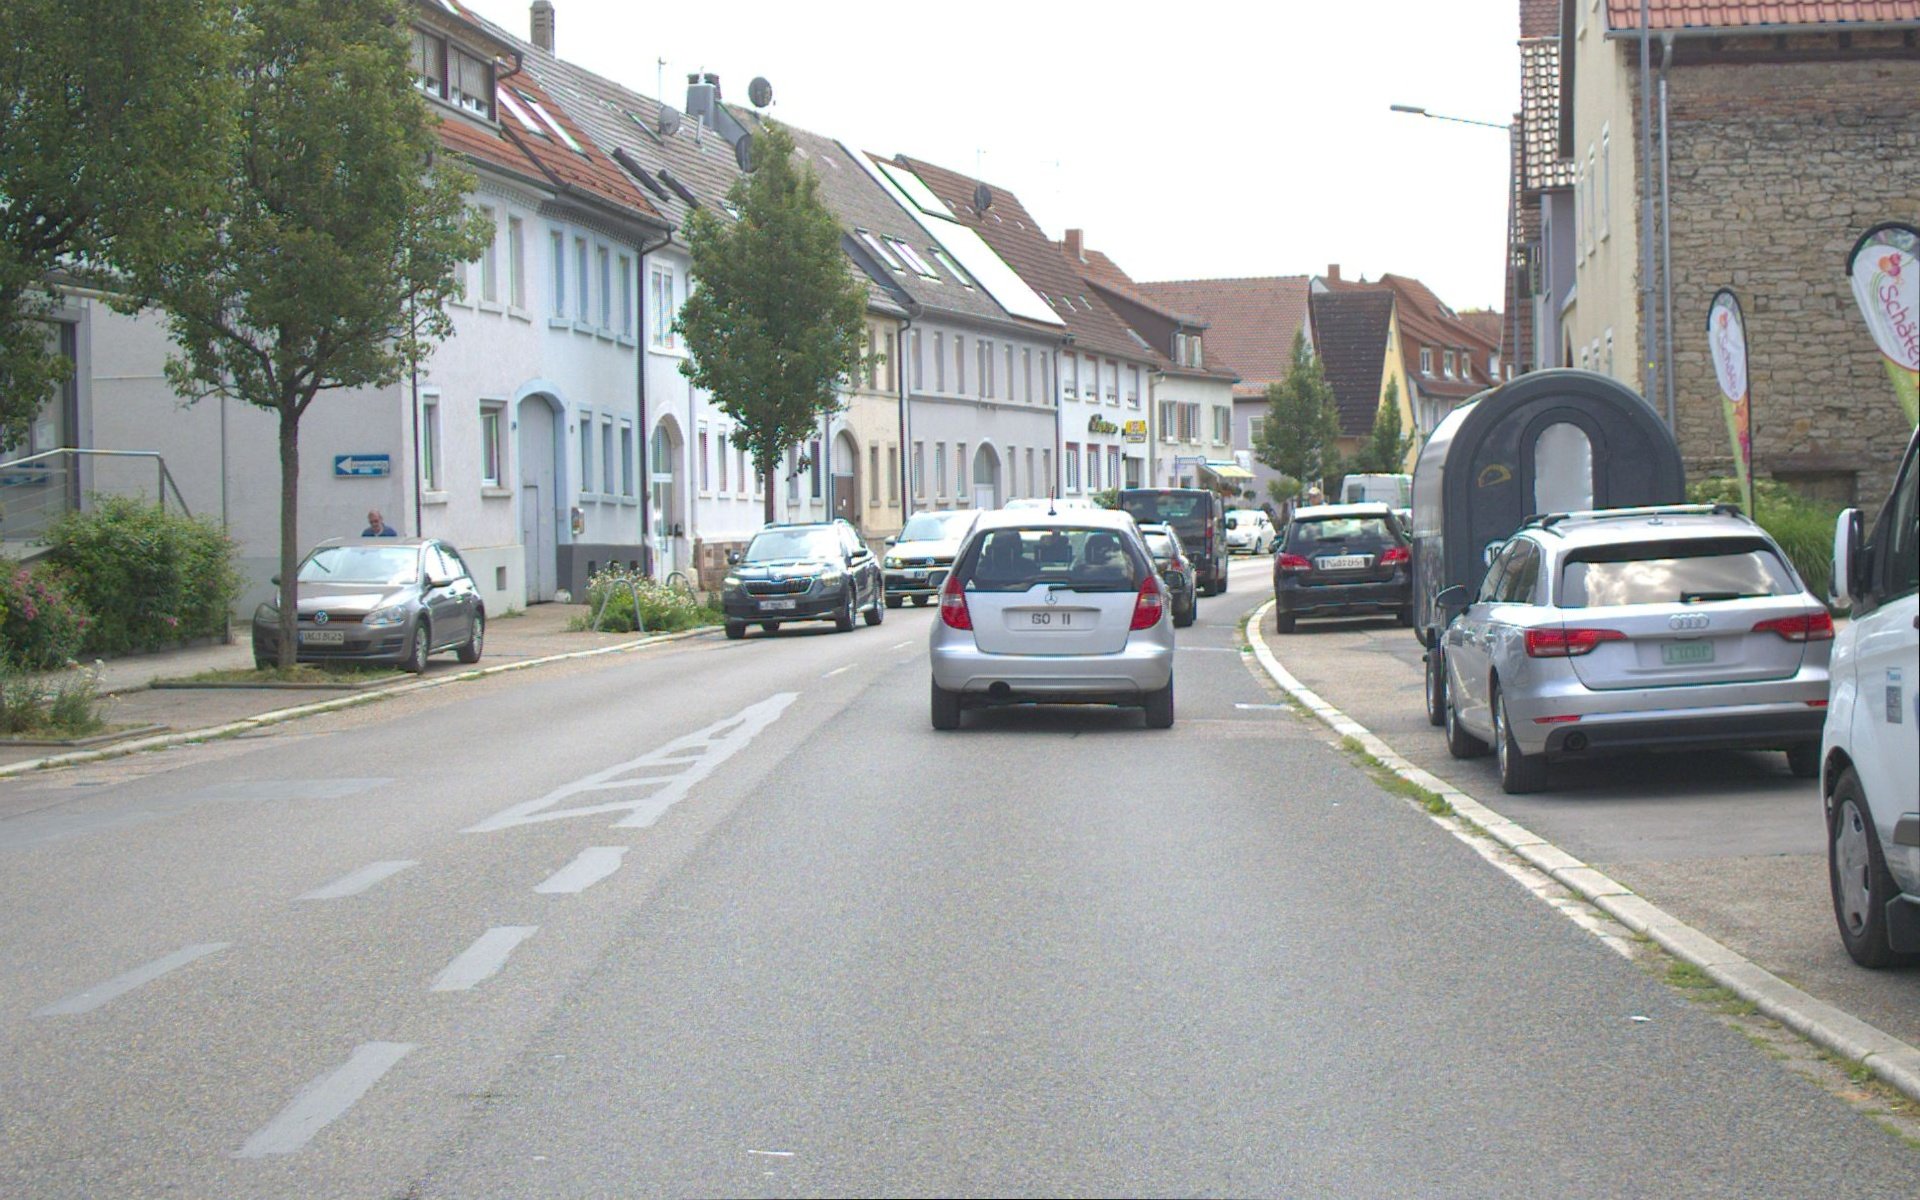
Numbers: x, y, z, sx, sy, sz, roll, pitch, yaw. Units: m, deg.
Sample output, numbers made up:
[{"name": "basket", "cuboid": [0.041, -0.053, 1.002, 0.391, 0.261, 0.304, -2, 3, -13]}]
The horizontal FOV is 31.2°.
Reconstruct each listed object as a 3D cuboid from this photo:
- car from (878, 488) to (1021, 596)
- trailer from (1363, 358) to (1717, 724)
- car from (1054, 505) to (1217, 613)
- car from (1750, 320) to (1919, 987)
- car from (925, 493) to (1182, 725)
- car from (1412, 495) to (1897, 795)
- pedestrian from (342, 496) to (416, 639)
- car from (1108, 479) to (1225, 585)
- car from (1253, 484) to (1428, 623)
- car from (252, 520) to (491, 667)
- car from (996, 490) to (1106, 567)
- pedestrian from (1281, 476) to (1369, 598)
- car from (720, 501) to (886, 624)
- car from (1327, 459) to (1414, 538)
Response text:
[{"name": "car", "cuboid": [-0.135, -1.048, 59.928, 1.955, 1.778, 4.651, 0, 2, 6]}, {"name": "trailer", "cuboid": [4.038, -0.443, 24.472, 1.845, 2.346, 3.590, -2, 2, 0]}, {"name": "car", "cuboid": [2.472, -0.585, 47.651, 1.945, 1.402, 3.999, 1, 1, 7]}, {"name": "car", "cuboid": [3.744, 0.130, 9.593, 1.892, 1.975, 4.931, -4, 2, 1]}, {"name": "car", "cuboid": [0.687, 0.020, 25.937, 1.769, 1.589, 4.000, 1, 1, 1]}, {"name": "car", "cuboid": [3.792, 0.196, 19.587, 1.875, 1.476, 4.674, -1, 1, 1]}, {"name": "pedestrian", "cuboid": [-7.426, -0.419, 43.980, 0.739, 1.795, 0.642, -2, 1, 2]}, {"name": "car", "cuboid": [3.895, -1.274, 64.212, 1.769, 1.881, 4.445, 1, 1, 8]}, {"name": "car", "cuboid": [4.848, -0.626, 43.401, 1.994, 1.553, 3.999, -3, 2, 8]}, {"name": "car", "cuboid": [-6.350, -0.118, 37.500, 1.804, 1.455, 4.158, -1, 2, 1]}, {"name": "car", "cuboid": [2.361, -1.856, 88.300, 2.092, 1.877, 3.998, -1, 2, 12]}, {"name": "pedestrian", "cuboid": [5.578, -0.974, 52.464, 1.096, 1.815, 1.468, -1, 2, 14]}, {"name": "car", "cuboid": [-2.133, -0.550, 47.681, 1.743, 1.521, 4.019, -3, 2, 5]}, {"name": "car", "cuboid": [12.264, -3.002, 102.473, 2.237, 2.214, 3.998, -2, 1, 11]}]
